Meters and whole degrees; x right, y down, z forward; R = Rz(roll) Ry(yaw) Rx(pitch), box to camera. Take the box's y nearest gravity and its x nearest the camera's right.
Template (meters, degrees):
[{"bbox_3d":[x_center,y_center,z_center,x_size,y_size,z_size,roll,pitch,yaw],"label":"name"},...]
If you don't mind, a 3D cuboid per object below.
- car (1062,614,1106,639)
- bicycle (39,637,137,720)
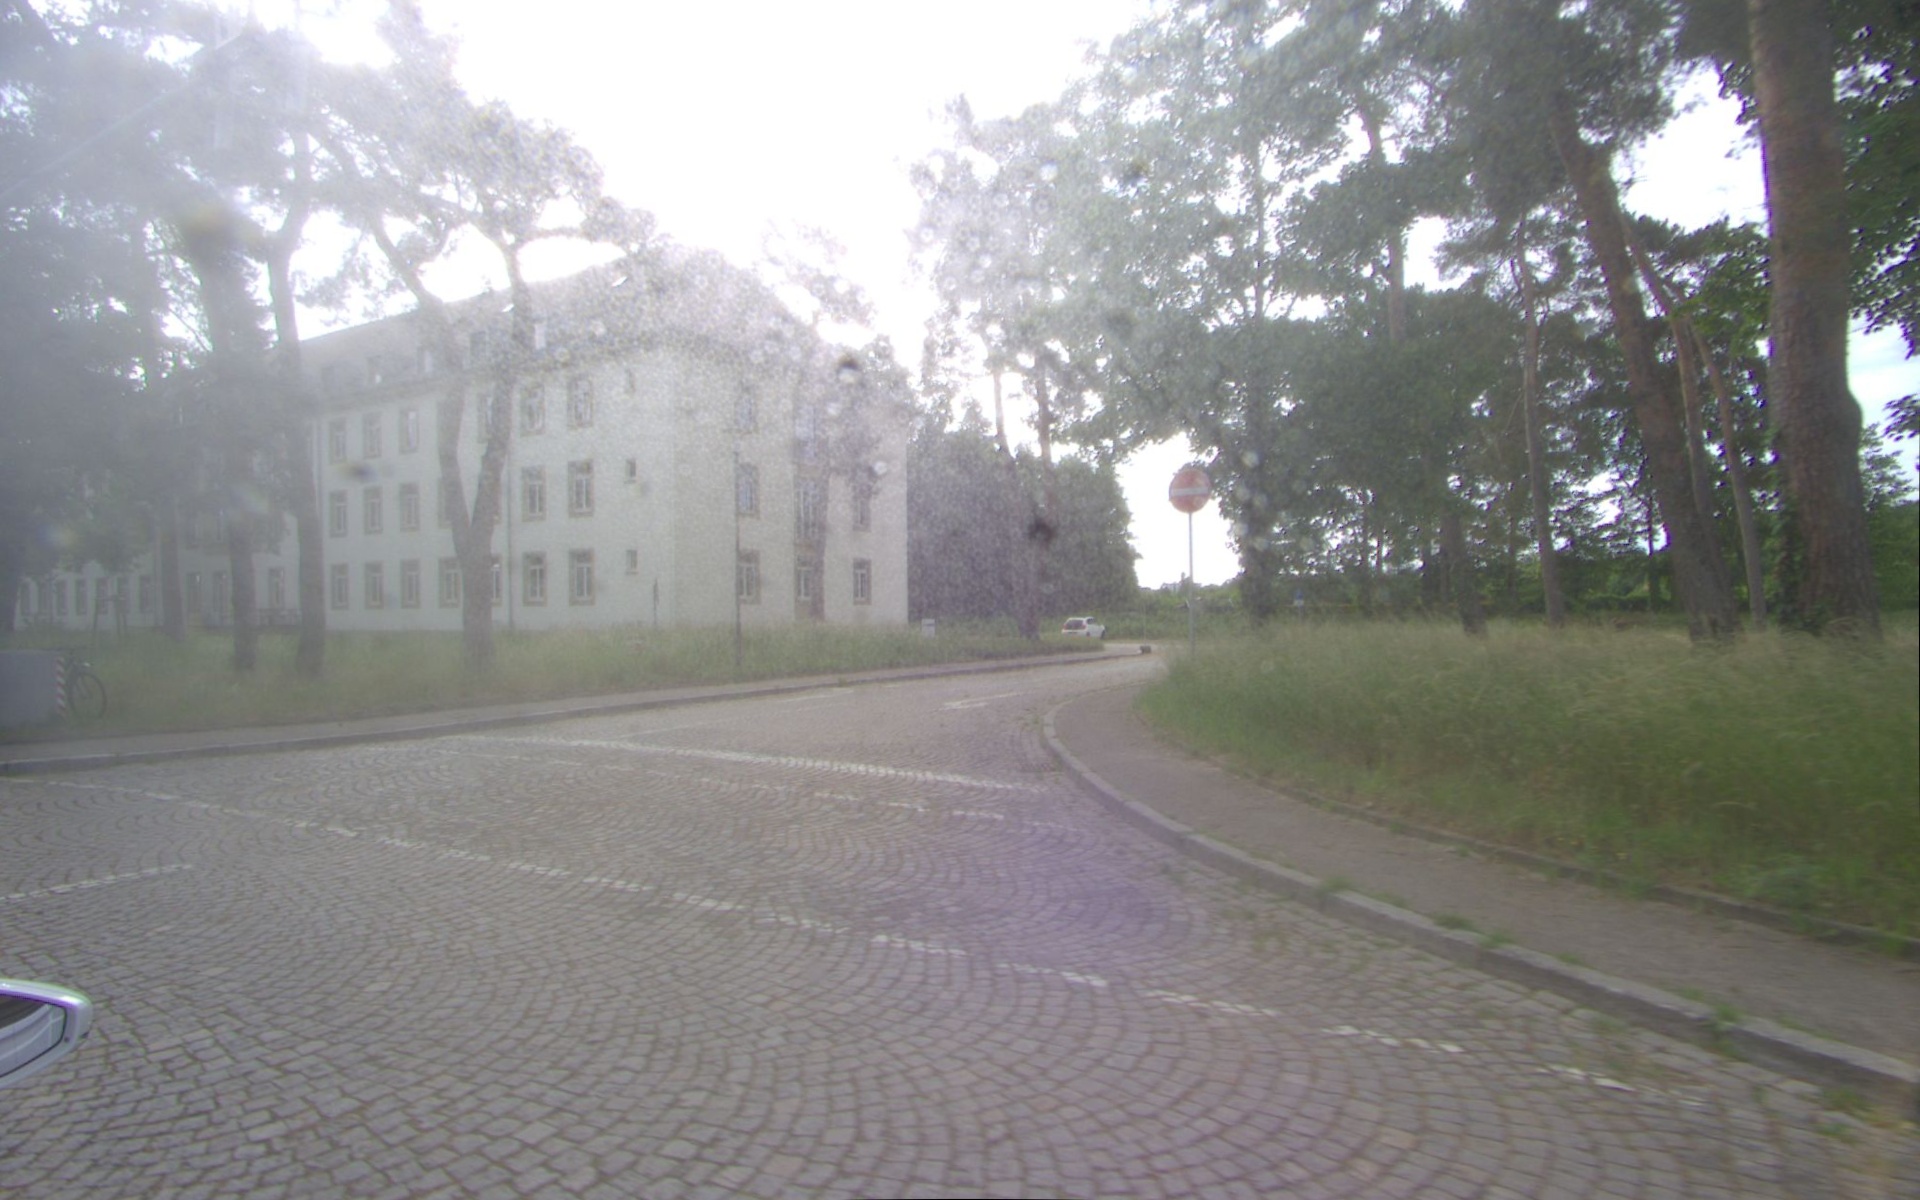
[{"bbox_3d":[7.449,1.585,59.939,1.466,1.455,3.181,-1,-2,31],"label":"car"},{"bbox_3d":[-11.878,1.036,13.624,1.654,0.983,0.579,1,3,34],"label":"bicycle"}]
